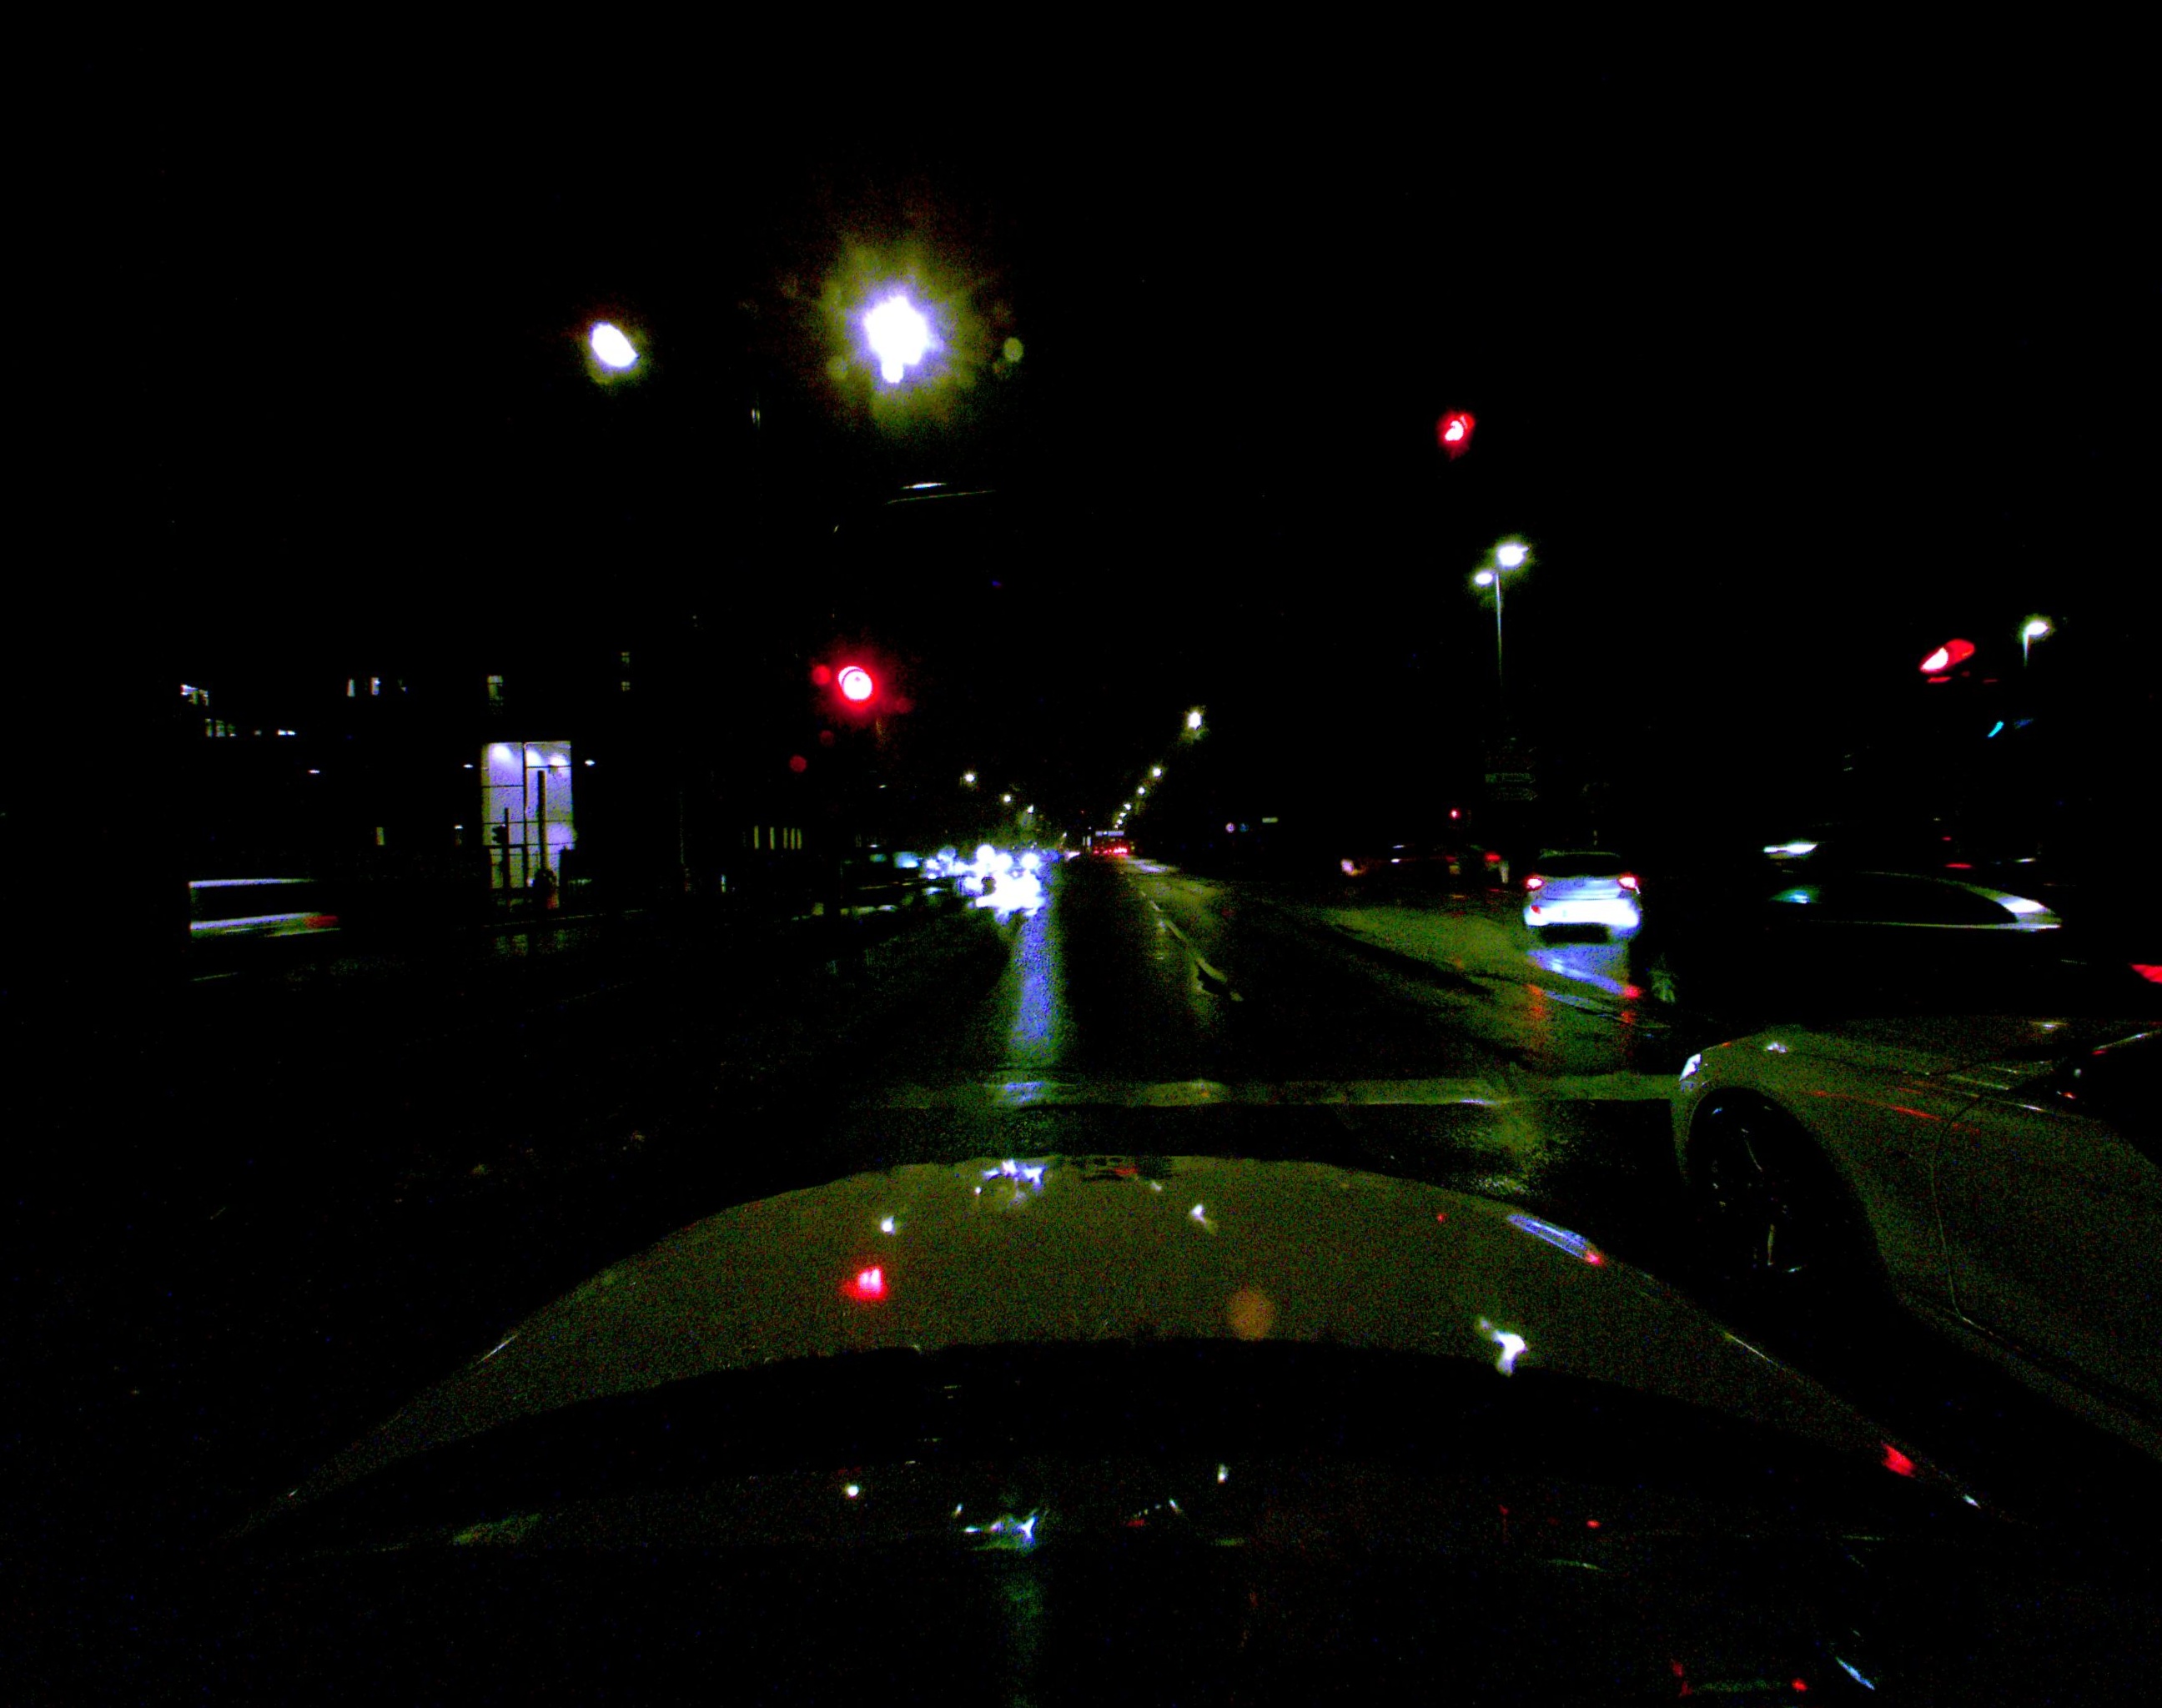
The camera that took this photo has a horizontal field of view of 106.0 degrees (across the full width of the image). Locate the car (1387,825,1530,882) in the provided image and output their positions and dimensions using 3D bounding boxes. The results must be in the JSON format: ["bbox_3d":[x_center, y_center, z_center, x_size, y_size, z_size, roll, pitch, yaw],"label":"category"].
[{"bbox_3d":[14.942,0.009,32.575,4.876,2.145,2.150,-1,-1,15],"label":"car"}]

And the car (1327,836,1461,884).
[{"bbox_3d":[10.963,0.226,28.752,4.051,1.588,1.913,1,-1,2],"label":"car"}]

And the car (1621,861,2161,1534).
[{"bbox_3d":[3.110,0.719,1.305,1.710,1.404,4.351,0,-1,2],"label":"car"}]

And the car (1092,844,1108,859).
[{"bbox_3d":[2.499,-0.303,109.049,1.988,2.014,4.629,0,-1,-1],"label":"car"}]

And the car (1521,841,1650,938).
[{"bbox_3d":[8.653,0.544,14.222,1.618,1.459,3.615,-1,-1,27],"label":"car"}]

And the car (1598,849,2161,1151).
[{"bbox_3d":[6.017,0.676,5.902,1.745,1.390,4.568,0,0,2],"label":"car"}]

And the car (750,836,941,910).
[{"bbox_3d":[-6.080,0.458,21.433,1.836,1.749,4.533,-1,-1,44],"label":"car"}]

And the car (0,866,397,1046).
[{"bbox_3d":[-11.258,1.034,9.833,1.893,1.741,4.409,0,-1,9],"label":"car"}]

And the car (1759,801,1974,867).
[{"bbox_3d":[26.531,-0.641,27.669,5.066,1.984,2.004,-2,0,6],"label":"car"}]

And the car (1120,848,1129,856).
[{"bbox_3d":[10.241,-0.521,193.281,1.986,1.759,4.001,0,-1,2],"label":"car"}]

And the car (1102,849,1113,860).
[{"bbox_3d":[4.539,0.039,140.894,1.784,1.874,4.628,0,-1,1],"label":"car"}]
